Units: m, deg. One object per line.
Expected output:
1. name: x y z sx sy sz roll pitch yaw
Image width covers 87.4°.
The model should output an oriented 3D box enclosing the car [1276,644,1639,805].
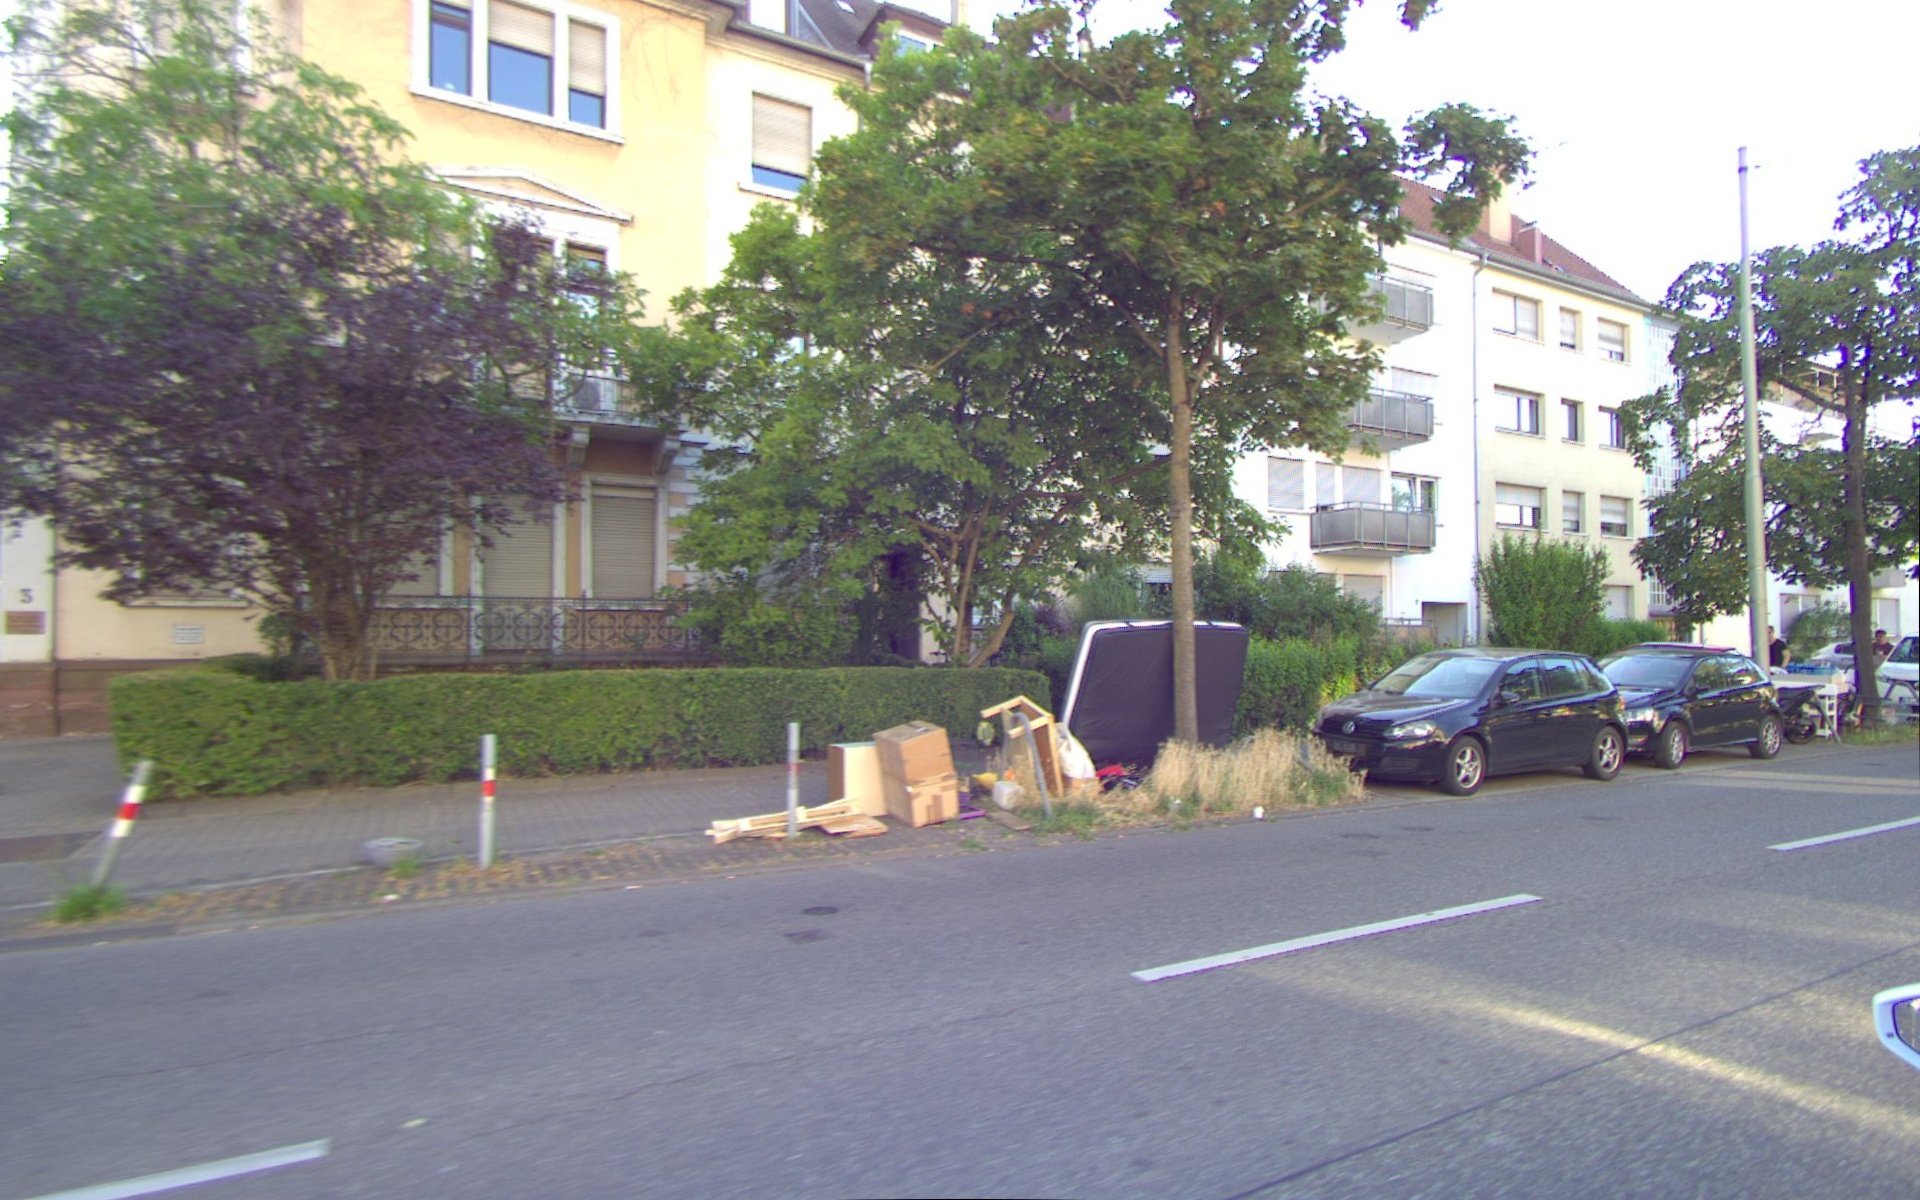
1. car: 5.792 1.288 11.595 4.146 1.522 1.743 1 -2 -30

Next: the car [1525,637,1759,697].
1. car: 17.509 1.663 25.963 1.985 1.380 4.669 1 -2 -41

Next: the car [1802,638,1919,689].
1. car: 30.172 2.039 32.601 1.978 1.498 3.965 1 -1 -32

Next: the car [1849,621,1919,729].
1. car: 19.219 1.391 19.360 4.406 1.944 1.762 1 -2 -30

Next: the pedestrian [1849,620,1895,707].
1. pedestrian: 21.754 1.505 23.970 0.609 2.040 0.624 1 -2 -30

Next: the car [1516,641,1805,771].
1. car: 9.667 1.349 13.825 3.930 1.522 1.743 1 -2 -30

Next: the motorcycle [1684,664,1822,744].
1. motorcycle: 12.338 1.610 15.658 1.672 1.207 0.442 0 -1 9

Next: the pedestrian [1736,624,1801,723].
1. pedestrian: 17.232 1.538 21.412 0.964 2.040 0.764 1 -2 -30
